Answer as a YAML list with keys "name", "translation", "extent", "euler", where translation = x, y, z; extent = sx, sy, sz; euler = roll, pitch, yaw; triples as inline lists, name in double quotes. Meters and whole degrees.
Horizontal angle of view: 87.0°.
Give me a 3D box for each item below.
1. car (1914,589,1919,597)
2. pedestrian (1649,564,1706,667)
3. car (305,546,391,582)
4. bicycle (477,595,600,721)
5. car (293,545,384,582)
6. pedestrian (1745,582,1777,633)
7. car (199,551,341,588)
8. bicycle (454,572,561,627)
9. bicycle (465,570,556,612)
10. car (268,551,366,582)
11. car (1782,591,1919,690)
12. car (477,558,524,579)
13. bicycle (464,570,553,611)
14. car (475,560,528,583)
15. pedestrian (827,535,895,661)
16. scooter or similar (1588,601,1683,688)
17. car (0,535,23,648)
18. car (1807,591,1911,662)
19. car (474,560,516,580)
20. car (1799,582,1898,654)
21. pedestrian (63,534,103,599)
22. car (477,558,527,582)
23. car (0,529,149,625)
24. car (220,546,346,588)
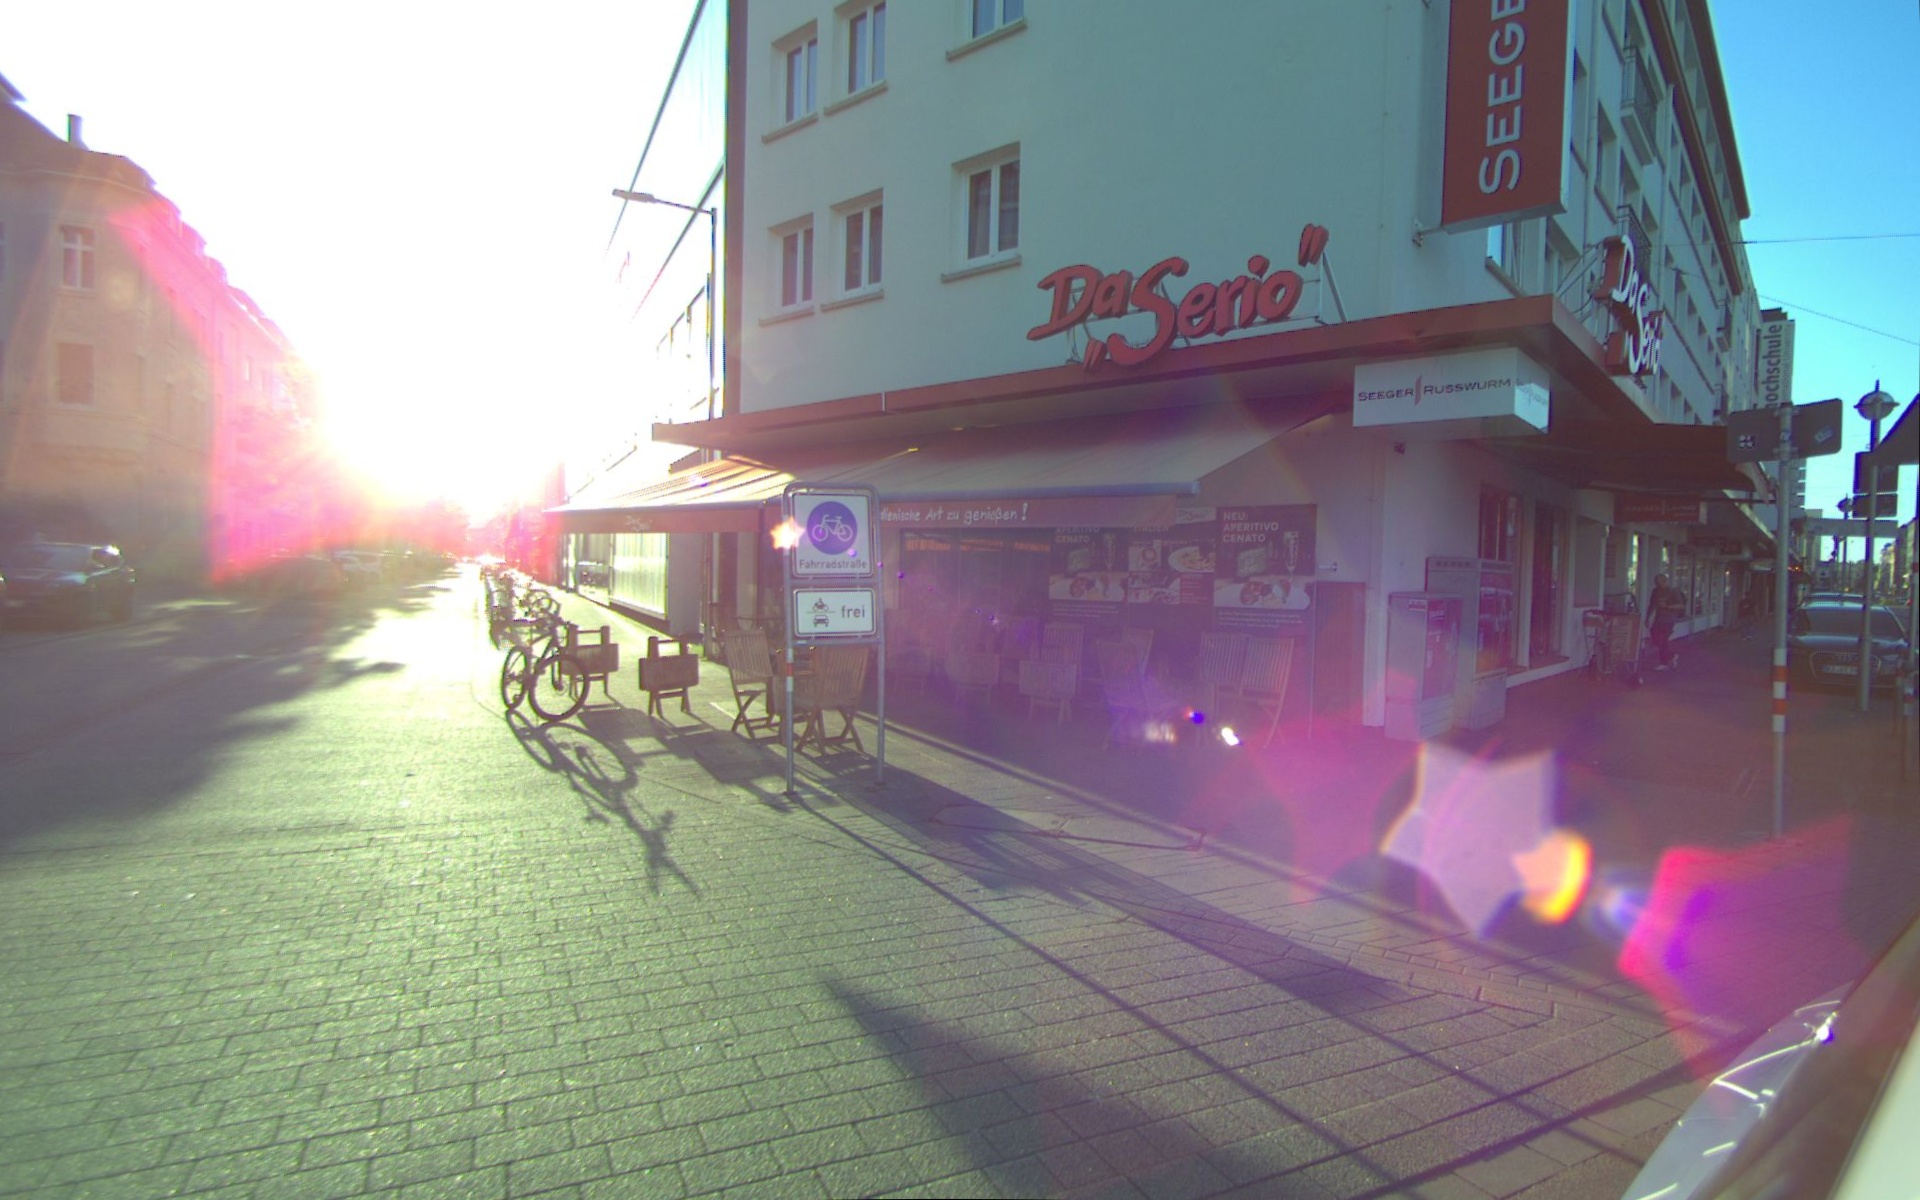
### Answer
- name: "car"
  translation: [177.295, -1.292, 186.350]
  extent: [1.991, 1.582, 3.942]
  euler: [0, 1, 40]
- name: "pedestrian"
  translation: [13.816, 0.281, 19.478]
  extent: [0.773, 1.903, 0.921]
  euler: [3, 2, 39]
- name: "car"
  translation: [-35.845, -2.070, 59.333]
  extent: [1.835, 2.039, 3.947]
  euler: [0, 1, 37]
- name: "bicycle"
  translation: [-4.512, 0.563, 10.761]
  extent: [1.905, 1.173, 0.527]
  euler: [2, 2, 45]
- name: "car"
  translation: [-34.595, -1.997, 56.395]
  extent: [1.855, 2.001, 3.947]
  euler: [0, 1, 37]
- name: "pedestrian"
  translation: [25.983, 0.241, 32.838]
  extent: [0.732, 1.593, 0.952]
  euler: [2, 1, 41]
- name: "car"
  translation: [-26.504, -1.153, 39.003]
  extent: [1.980, 1.362, 4.116]
  euler: [0, 1, 26]
- name: "bicycle"
  translation: [-10.931, -0.030, 24.499]
  extent: [2.298, 1.247, 0.606]
  euler: [-2, 3, -31]
- name: "bicycle"
  translation: [-12.752, -0.281, 28.742]
  extent: [2.297, 1.159, 0.529]
  euler: [-1, 1, -31]
- name: "car"
  translation: [-33.684, -1.739, 53.092]
  extent: [1.989, 1.526, 3.947]
  euler: [2, 2, 37]
- name: "car"
  translation: [15.265, 0.581, 17.308]
  extent: [1.788, 1.430, 4.619]
  euler: [0, 1, 40]
- name: "car"
  translation: [-28.848, -1.976, 63.552]
  extent: [2.632, 1.262, 1.452]
  euler: [-1, 1, -23]
- name: "bicycle"
  translation: [-13.043, -0.291, 29.248]
  extent: [2.297, 1.154, 0.529]
  euler: [-1, 1, -31]
- name: "car"
  translation: [-25.244, -1.553, 55.825]
  extent: [2.632, 1.262, 1.452]
  euler: [-1, 1, -23]
- name: "pedestrian"
  translation: [-1.489, -0.038, 15.325]
  extent: [0.710, 1.848, 0.755]
  euler: [0, 2, 29]
- name: "scooter or similar"
  translation: [10.338, 0.648, 15.529]
  extent: [0.328, 1.208, 1.440]
  euler: [2, 2, -5]
- name: "car"
  translation: [-15.244, -0.130, 14.141]
  extent: [1.880, 1.773, 4.447]
  euler: [3, 0, -26]
- name: "car"
  translation: [20.415, 0.528, 23.063]
  extent: [1.649, 1.438, 4.129]
  euler: [0, 1, 41]
- name: "car"
  translation: [-31.300, -2.000, 68.115]
  extent: [2.533, 1.316, 1.301]
  euler: [-1, 1, -25]
- name: "car"
  translation: [23.554, 0.400, 26.916]
  extent: [1.854, 1.722, 4.354]
  euler: [0, 1, 40]
- name: "pedestrian"
  translation: [-23.840, -0.920, 27.525]
  extent: [0.658, 1.731, 0.715]
  euler: [1, 1, -28]
- name: "car"
  translation: [-26.672, -1.758, 58.992]
  extent: [2.632, 1.377, 1.452]
  euler: [-1, 0, -23]
- name: "car"
  translation: [-18.229, -0.510, 20.241]
  extent: [1.958, 1.641, 4.272]
  euler: [5, 0, -23]
- name: "car"
  translation: [-27.960, -1.329, 41.900]
  extent: [1.988, 1.638, 3.947]
  euler: [0, 1, 37]
